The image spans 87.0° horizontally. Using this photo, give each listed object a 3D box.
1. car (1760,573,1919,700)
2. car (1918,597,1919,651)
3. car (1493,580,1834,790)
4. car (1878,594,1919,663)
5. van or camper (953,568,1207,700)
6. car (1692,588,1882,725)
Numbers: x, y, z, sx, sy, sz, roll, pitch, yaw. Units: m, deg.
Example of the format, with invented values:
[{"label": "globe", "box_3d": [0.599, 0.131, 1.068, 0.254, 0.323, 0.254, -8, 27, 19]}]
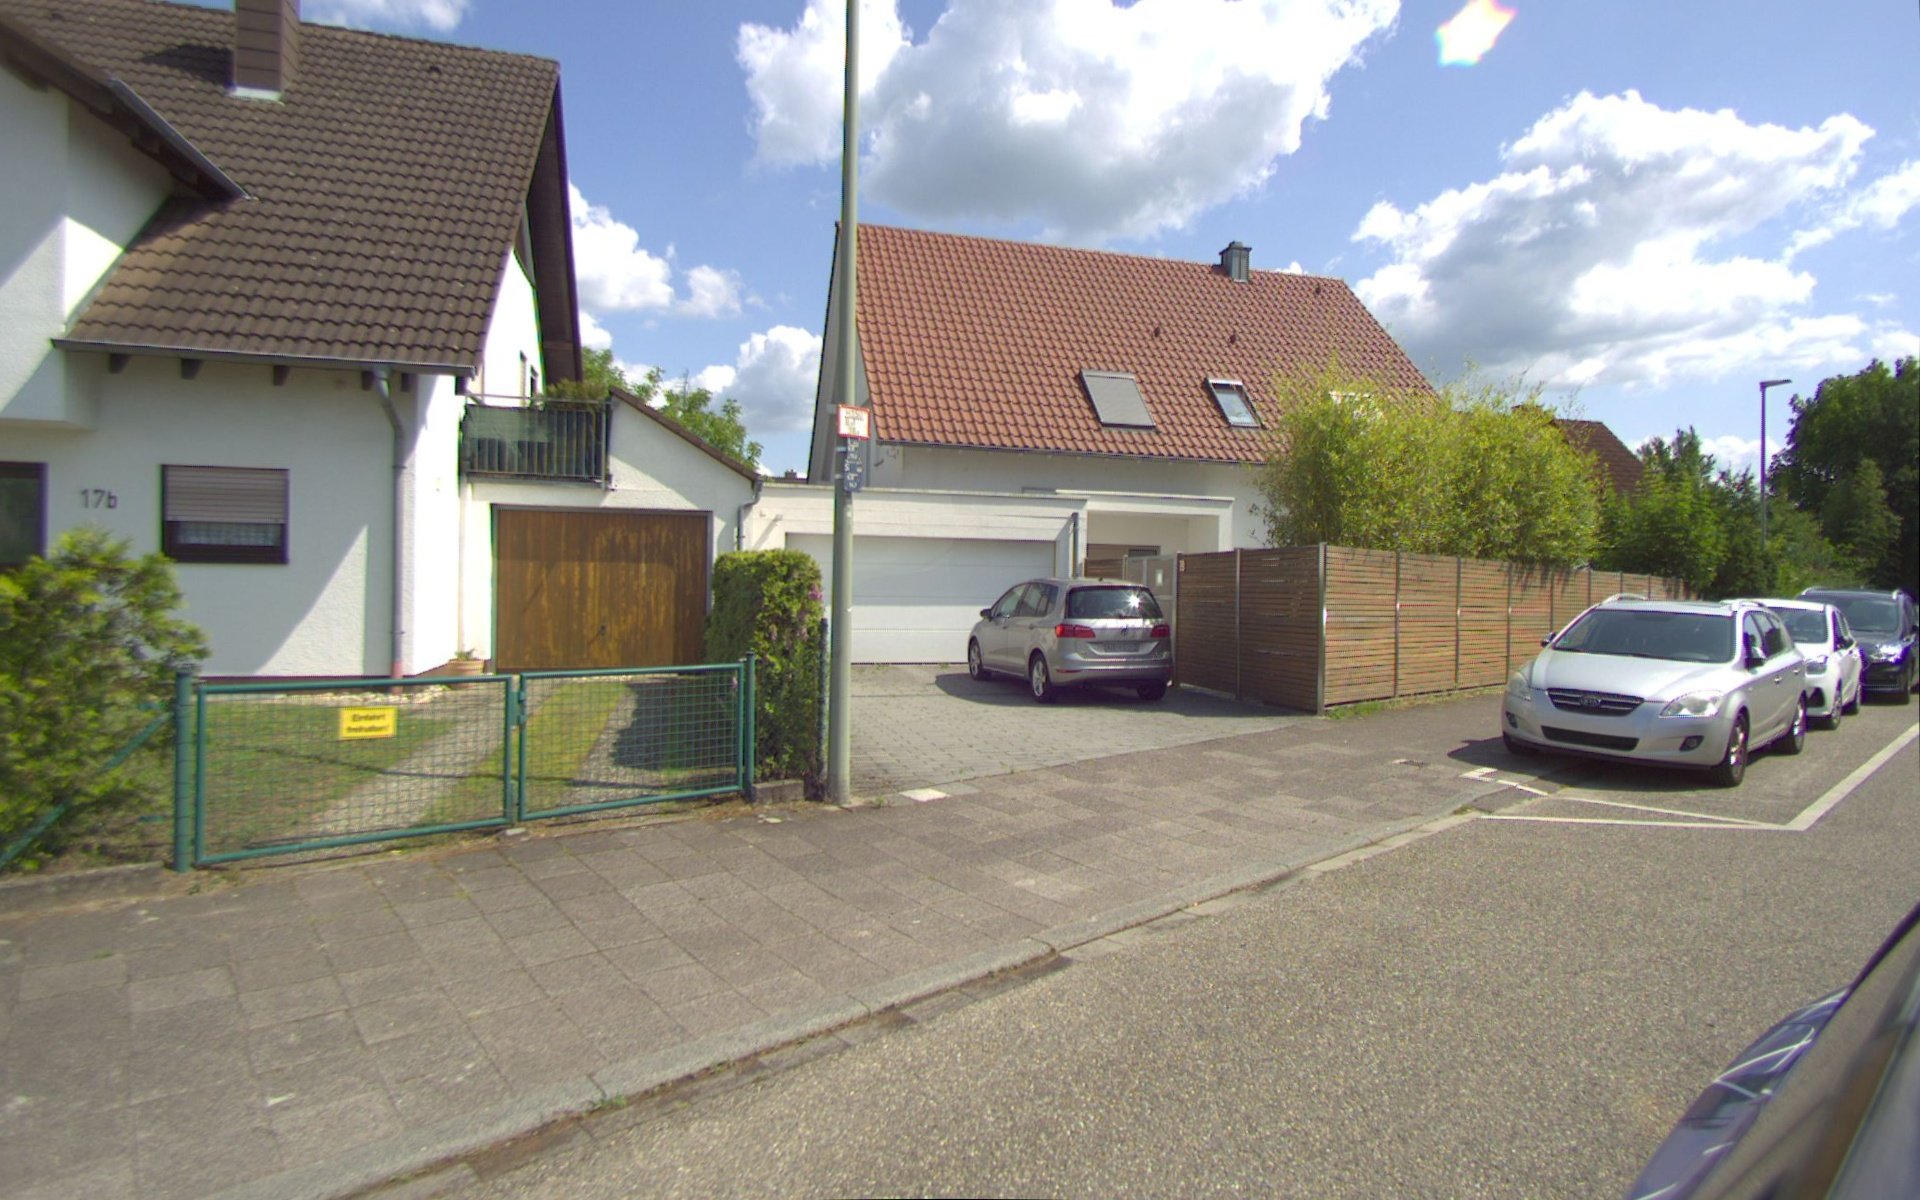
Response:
[{"label": "car", "box_3d": [14.888, 0.518, 16.713, 4.628, 1.795, 1.894, 0, 1, -43]}, {"label": "car", "box_3d": [28.270, 0.711, 28.234, 3.988, 1.454, 1.685, 1, 1, -38]}, {"label": "car", "box_3d": [6.816, 0.628, 9.627, 4.218, 1.572, 1.748, 0, 0, -42]}, {"label": "car", "box_3d": [23.564, 0.664, 24.299, 4.221, 1.524, 1.731, 0, 3, -41]}, {"label": "van or camper", "box_3d": [1.469, 0.357, 14.060, 1.958, 1.549, 4.009, 1, 1, -18]}, {"label": "car", "box_3d": [10.759, 0.652, 13.080, 3.609, 1.524, 1.444, 1, -1, -44]}]
